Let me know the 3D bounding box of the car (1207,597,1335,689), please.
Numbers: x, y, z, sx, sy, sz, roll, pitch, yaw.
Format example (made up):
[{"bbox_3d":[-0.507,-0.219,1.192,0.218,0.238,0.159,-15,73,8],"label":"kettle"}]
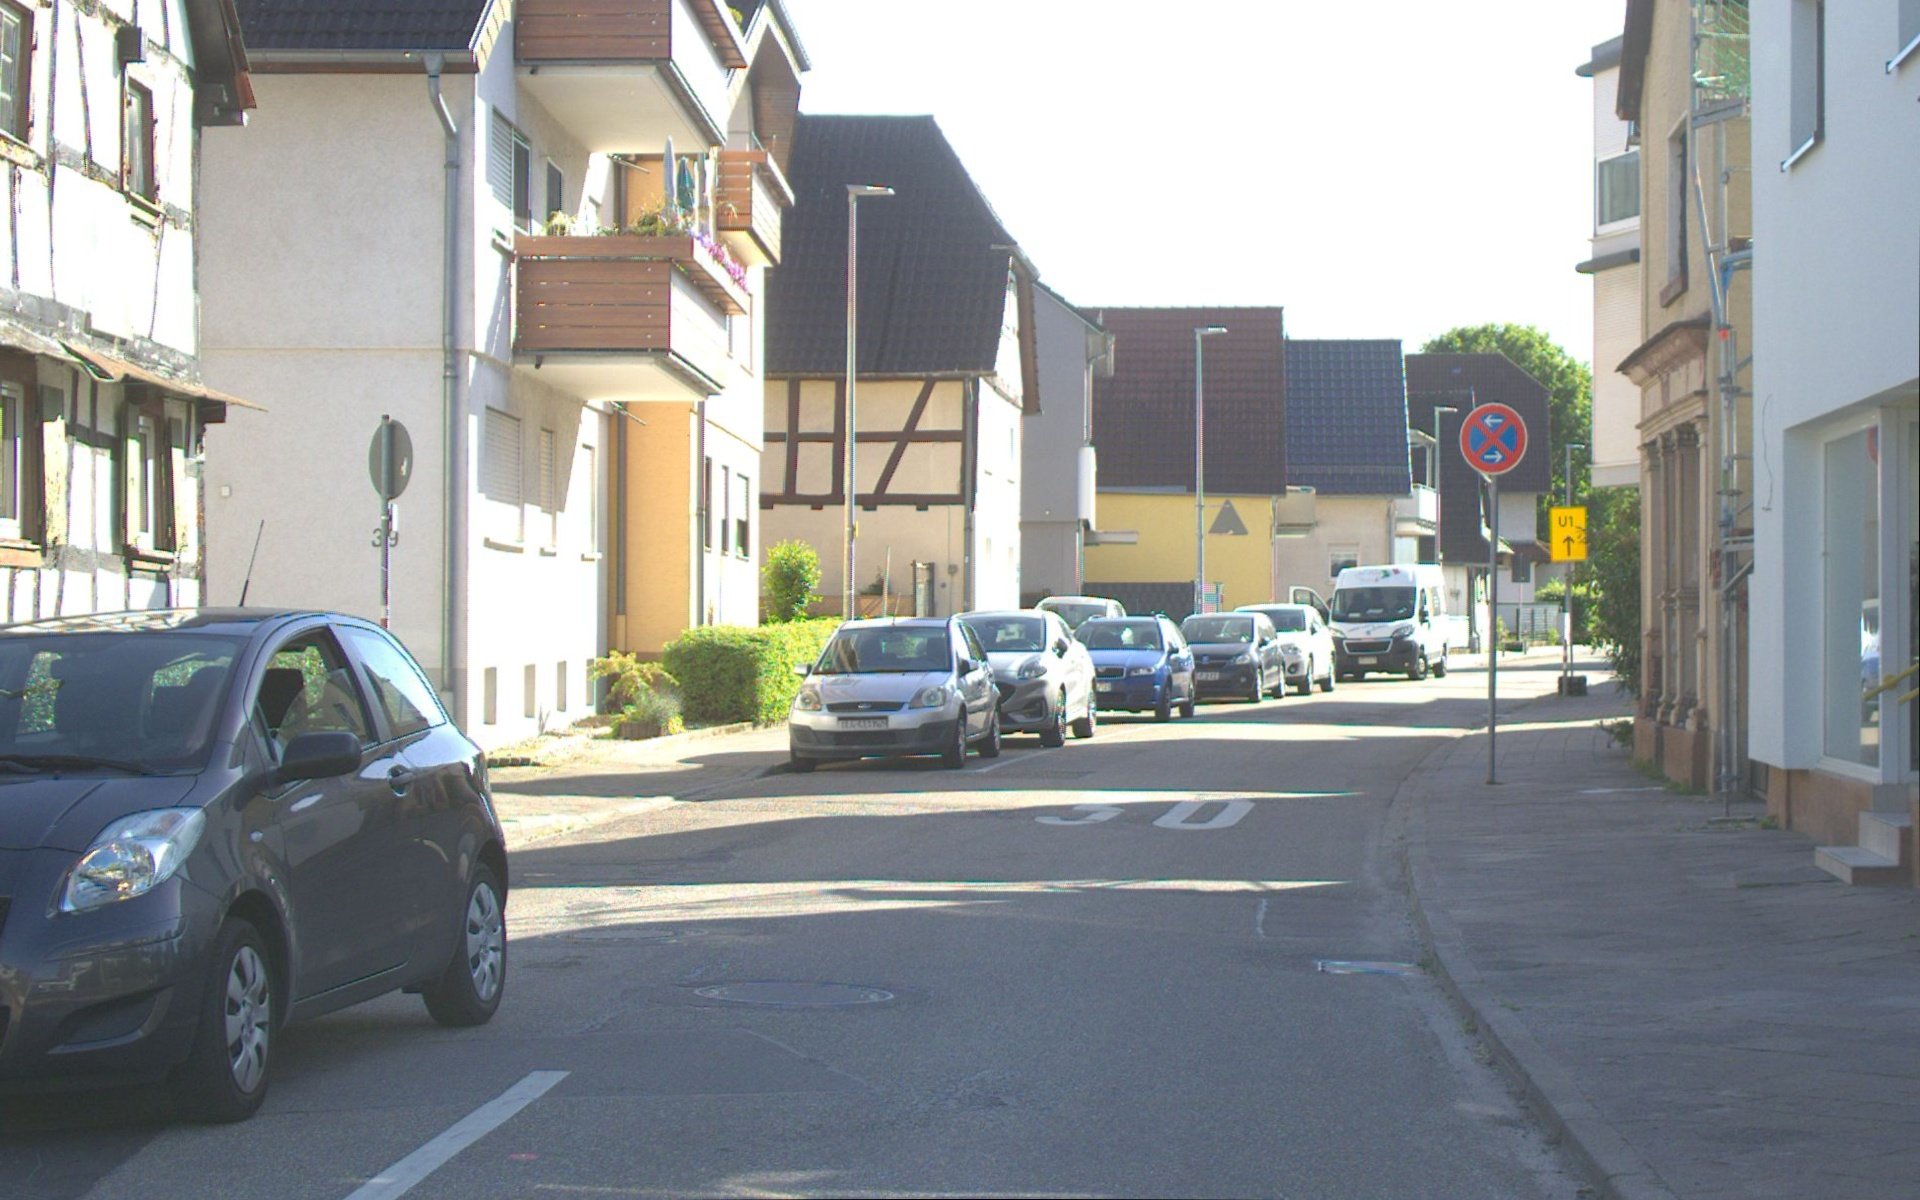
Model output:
[{"bbox_3d":[5.596,0.760,61.578,1.674,1.566,3.963,-1,-1,14],"label":"car"}]

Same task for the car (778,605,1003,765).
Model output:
[{"bbox_3d":[-0.633,0.801,34.222,1.631,1.501,3.851,0,0,8],"label":"car"}]

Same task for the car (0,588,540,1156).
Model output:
[{"bbox_3d":[-2.696,0.771,11.082,1.687,1.505,3.653,-2,-1,9],"label":"car"}]

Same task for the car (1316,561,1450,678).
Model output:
[{"bbox_3d":[9.144,0.418,73.970,2.078,2.386,5.204,-1,-1,16],"label":"car"}]

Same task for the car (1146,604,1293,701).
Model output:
[{"bbox_3d":[4.352,0.869,57.090,1.705,1.513,4.119,-1,-1,14],"label":"car"}]

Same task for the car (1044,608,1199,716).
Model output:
[{"bbox_3d":[2.289,0.855,47.939,1.639,1.436,4.073,-1,-1,10],"label":"car"}]

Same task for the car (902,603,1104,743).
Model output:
[{"bbox_3d":[0.544,0.800,39.162,1.674,1.501,4.093,-1,0,9],"label":"car"}]
